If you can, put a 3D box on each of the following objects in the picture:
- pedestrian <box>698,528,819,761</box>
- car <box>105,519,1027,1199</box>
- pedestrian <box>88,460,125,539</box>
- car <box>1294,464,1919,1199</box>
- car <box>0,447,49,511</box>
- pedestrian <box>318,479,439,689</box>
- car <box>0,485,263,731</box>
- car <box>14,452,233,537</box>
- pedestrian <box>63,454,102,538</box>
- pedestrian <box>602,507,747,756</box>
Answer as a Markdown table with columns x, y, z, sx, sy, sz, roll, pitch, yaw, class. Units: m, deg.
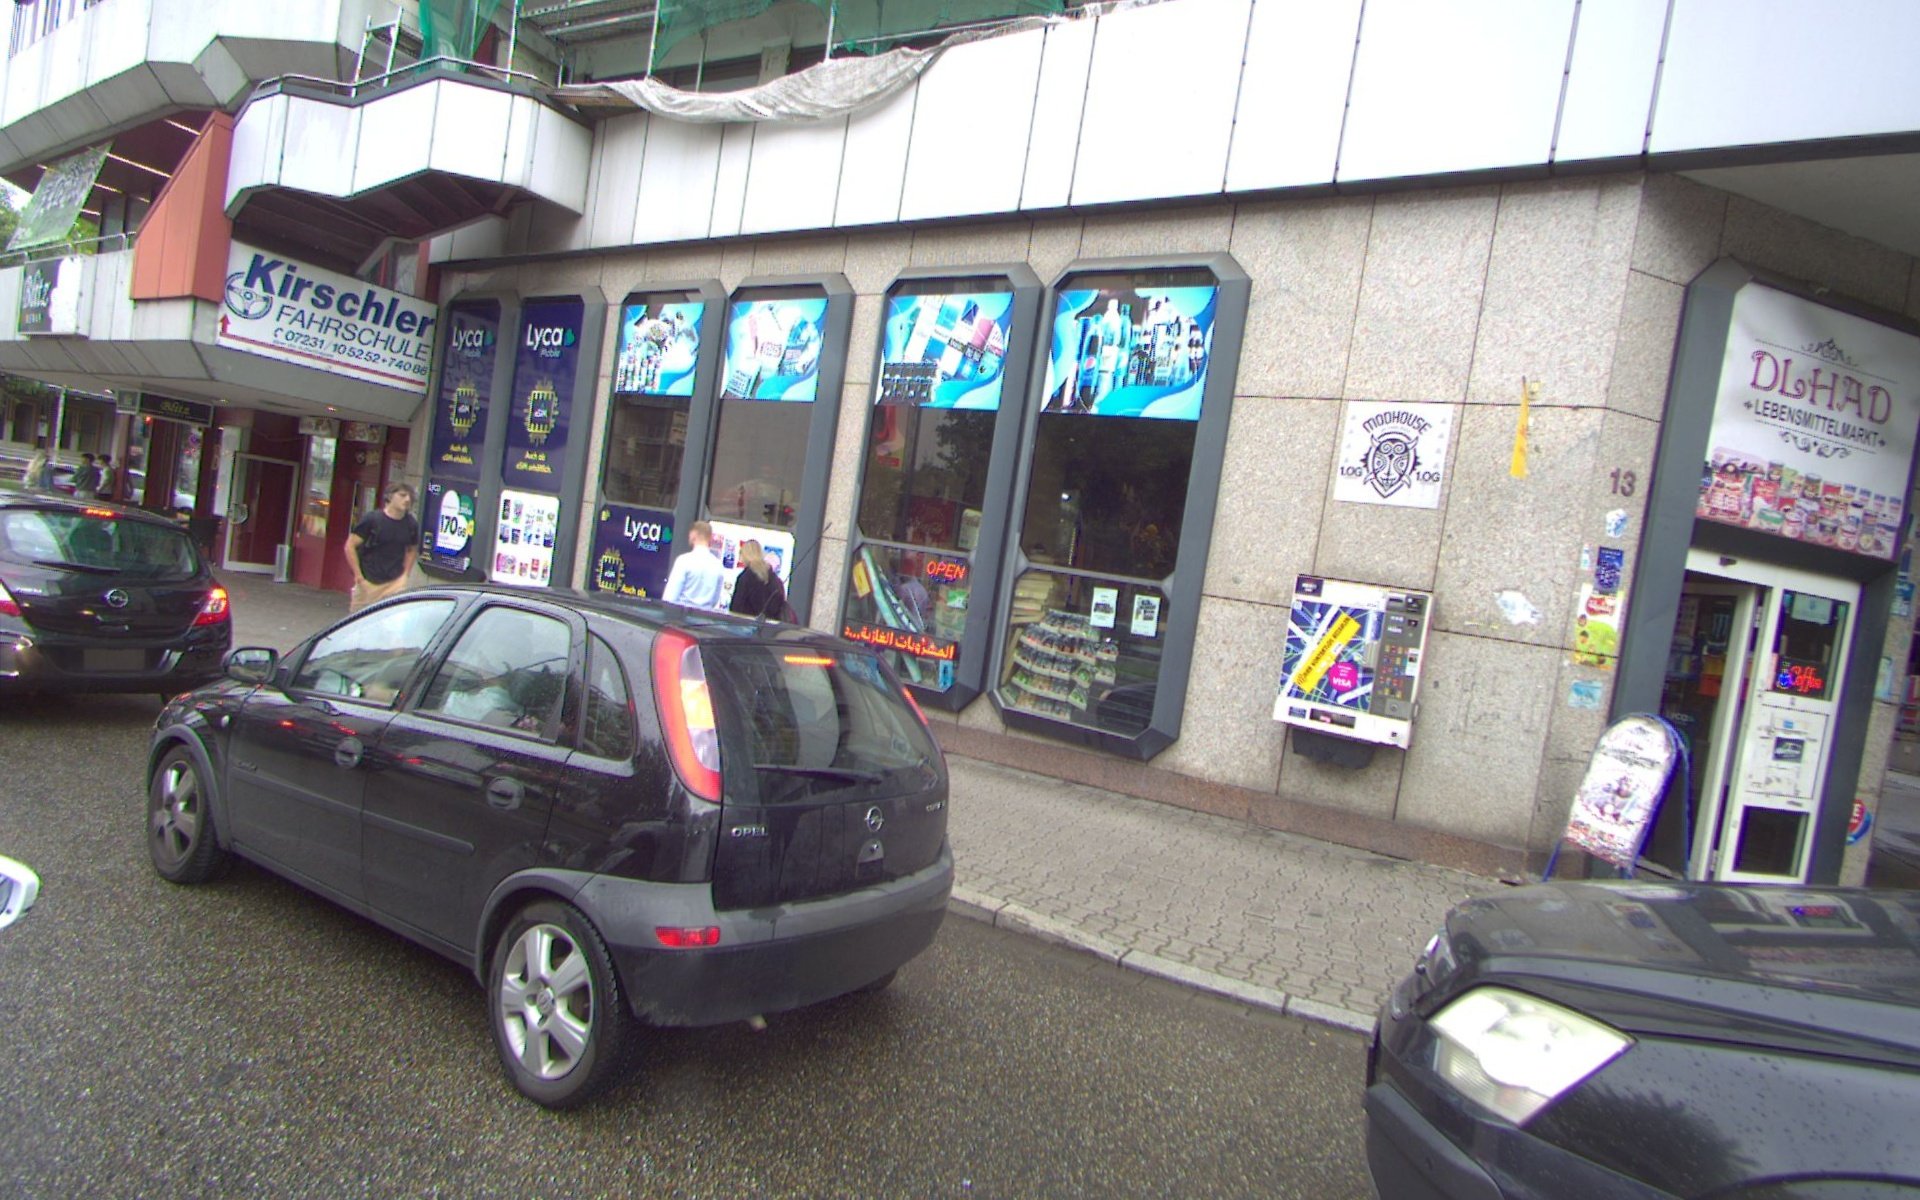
| x | y | z | sx | sy | sz | roll | pitch | yaw | class |
| --- | --- | --- | --- | --- | --- | --- | --- | --- | --- |
| -1.804 | 0.373 | 9.017 | 0.629 | 1.961 | 0.736 | 6 | 4 | 31 | pedestrian |
| -1.748 | 0.640 | 4.112 | 3.563 | 1.446 | 1.609 | 8 | -1 | 33 | car |
| -18.689 | -2.207 | 22.017 | 0.496 | 1.660 | 0.396 | 6 | 1 | 32 | pedestrian |
| 2.804 | 0.968 | 1.427 | 4.094 | 1.786 | 1.763 | 8 | -1 | 31 | car |
| -26.488 | -3.434 | 26.053 | 1.593 | 1.503 | 3.911 | 6 | -2 | 19 | car |
| -5.408 | -0.156 | 9.352 | 0.763 | 1.841 | 0.739 | 7 | 4 | 43 | pedestrian |
| -7.079 | -0.108 | 7.366 | 3.776 | 1.446 | 1.620 | 8 | -1 | 29 | car |
| -22.735 | -2.815 | 27.548 | 1.673 | 1.584 | 4.240 | 8 | 0 | 21 | car |
| -18.646 | -2.204 | 21.378 | 0.443 | 1.704 | 0.426 | 6 | 1 | 30 | pedestrian |
| -2.375 | 0.264 | 8.414 | 0.629 | 1.957 | 0.737 | 6 | -1 | 31 | pedestrian |
